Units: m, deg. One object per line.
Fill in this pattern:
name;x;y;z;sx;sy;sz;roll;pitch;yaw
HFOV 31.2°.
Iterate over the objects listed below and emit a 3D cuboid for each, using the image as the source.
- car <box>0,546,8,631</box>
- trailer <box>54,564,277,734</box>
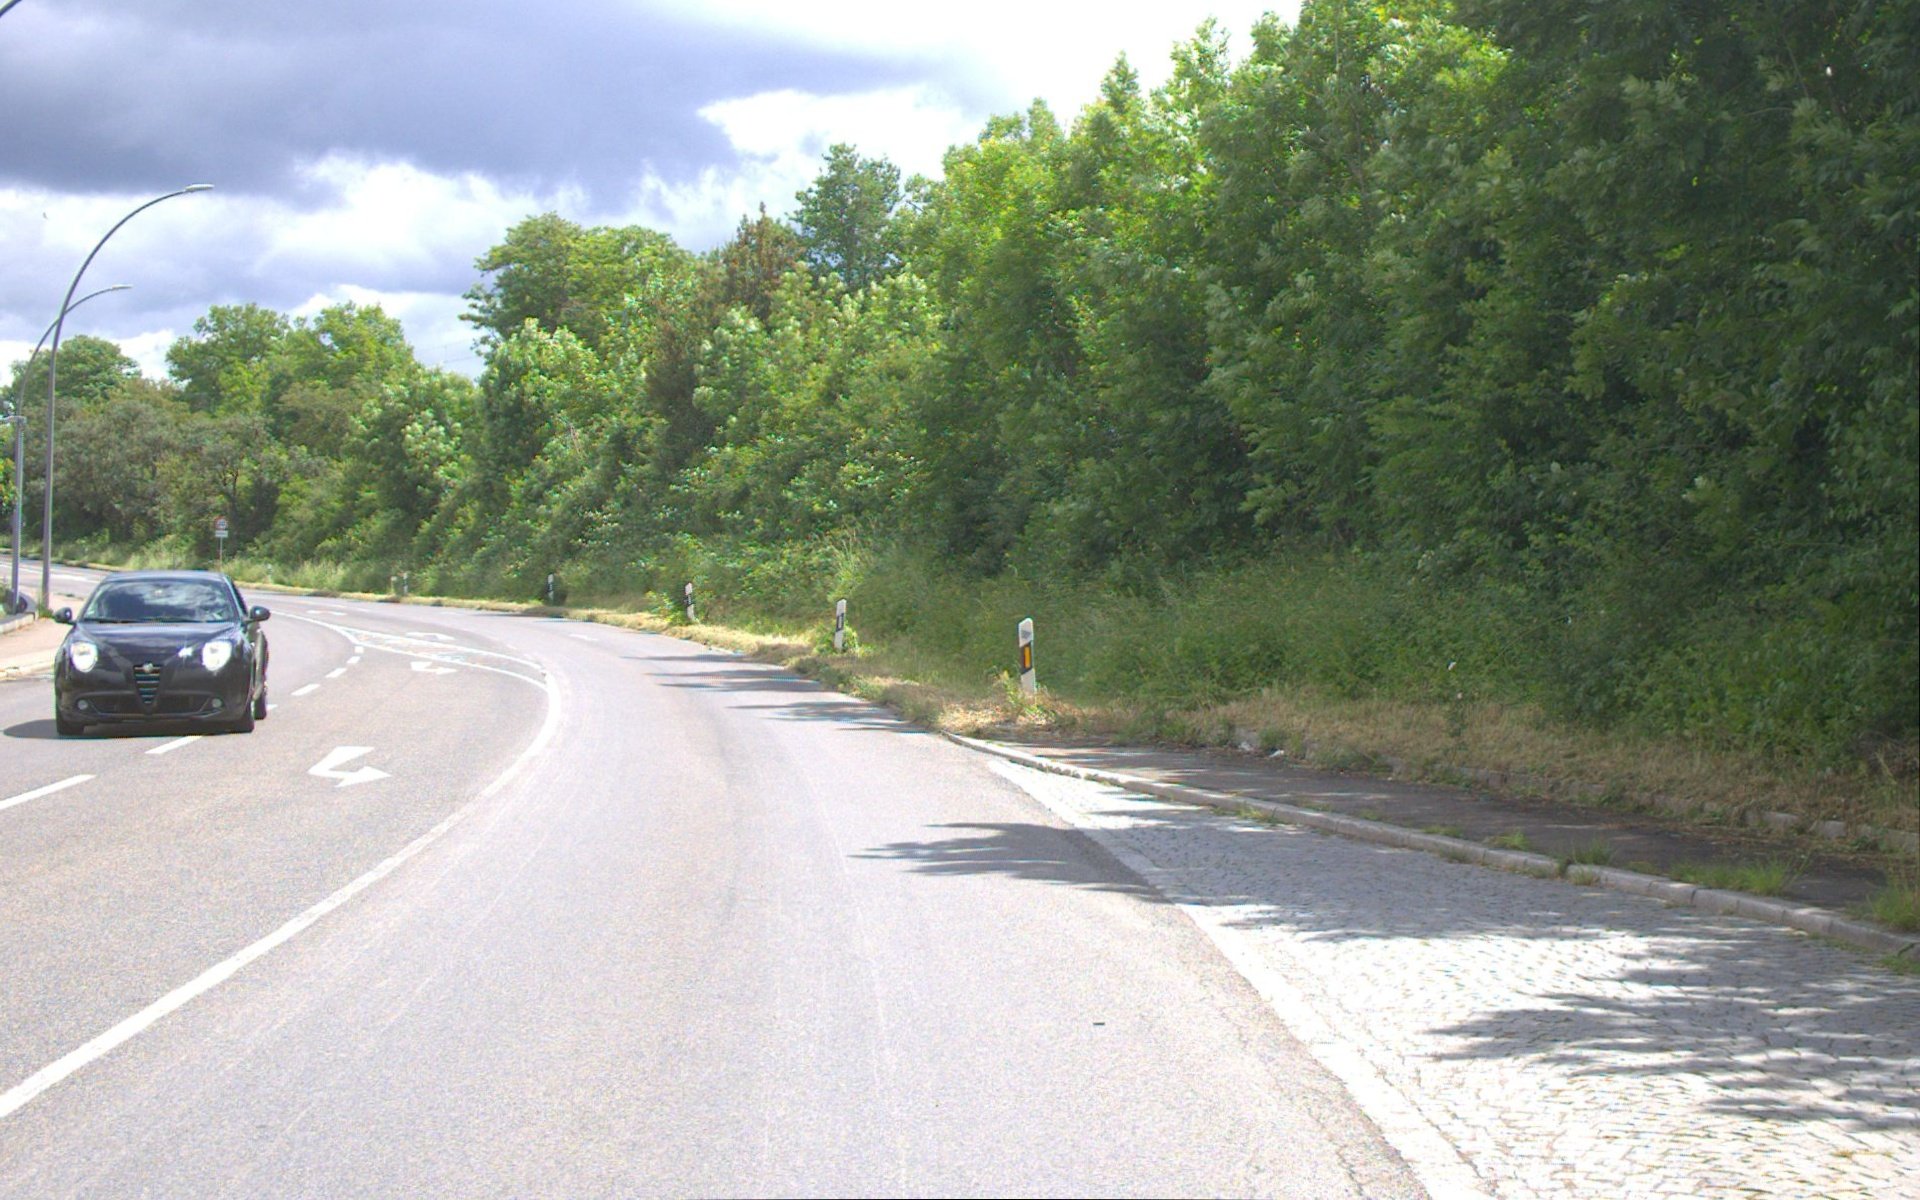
car;-21.393;-0.313;68.732;3.978;1.695;2.171;2;0;18
trailer;-7.181;0.399;31.359;1.647;1.418;4.001;0;1;-8
